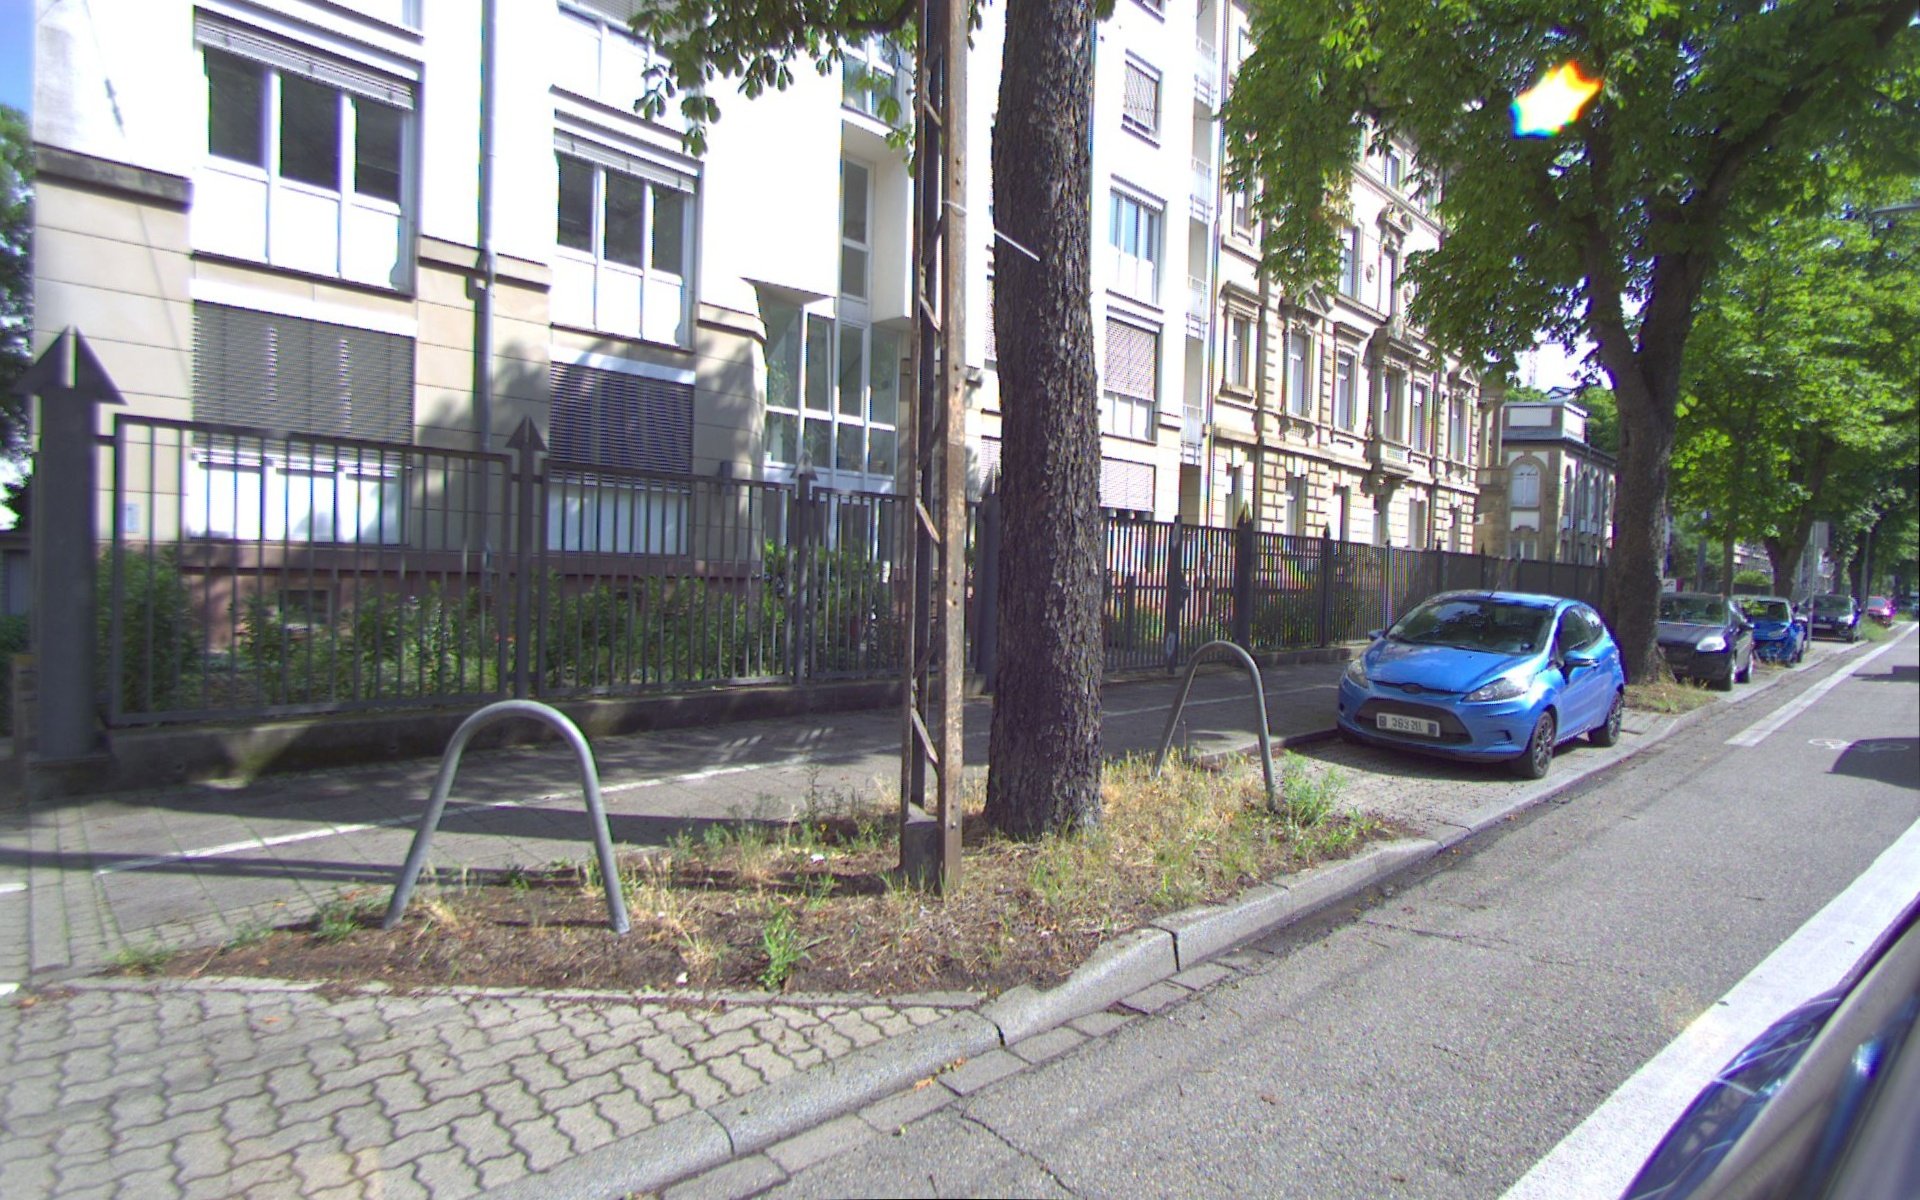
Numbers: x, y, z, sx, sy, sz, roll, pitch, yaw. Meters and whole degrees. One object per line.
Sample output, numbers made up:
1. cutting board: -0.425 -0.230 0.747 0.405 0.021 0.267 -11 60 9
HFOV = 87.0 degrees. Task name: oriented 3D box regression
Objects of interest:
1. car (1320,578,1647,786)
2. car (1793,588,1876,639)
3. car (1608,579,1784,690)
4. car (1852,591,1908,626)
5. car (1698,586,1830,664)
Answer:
1. car: 5.001 0.595 9.459 1.639 1.472 3.639 6 4 45
2. car: 30.835 0.427 35.656 4.130 1.549 1.772 0 4 -44
3. car: 12.181 0.496 16.676 3.562 1.526 1.643 0 4 -43
4. car: 46.823 0.407 51.486 4.130 1.591 1.772 0 4 -44
5. car: 17.809 0.487 22.361 3.861 1.469 1.722 0 4 -44
